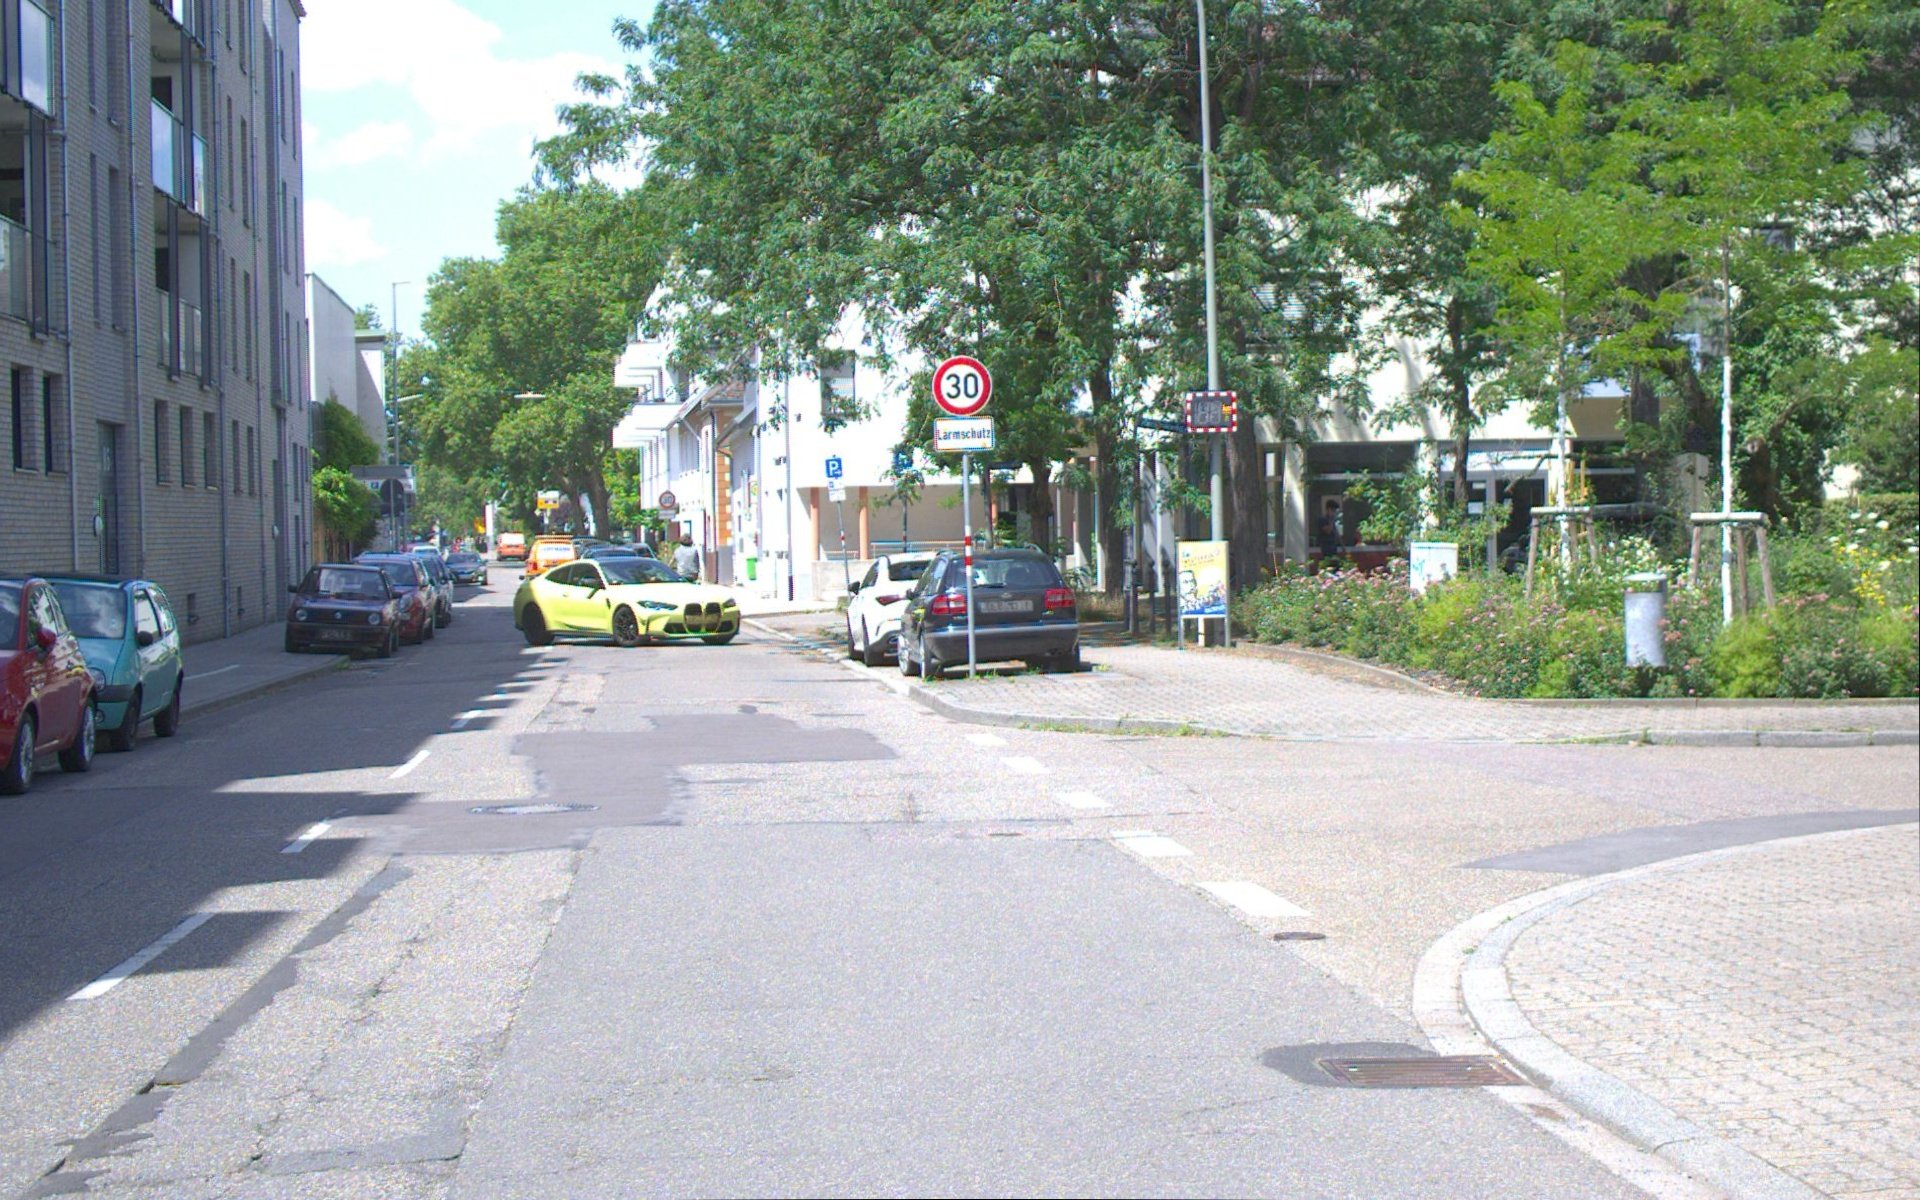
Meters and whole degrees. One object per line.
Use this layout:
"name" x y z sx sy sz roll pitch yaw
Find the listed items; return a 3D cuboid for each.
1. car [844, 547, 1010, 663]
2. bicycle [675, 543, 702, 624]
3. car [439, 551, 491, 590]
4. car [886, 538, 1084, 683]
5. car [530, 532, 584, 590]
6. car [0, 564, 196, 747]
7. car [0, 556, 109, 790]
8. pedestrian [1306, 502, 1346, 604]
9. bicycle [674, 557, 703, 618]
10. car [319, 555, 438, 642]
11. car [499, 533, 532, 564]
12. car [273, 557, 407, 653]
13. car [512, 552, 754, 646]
"car" -0.478 0.032 44.776 1.778 1.415 4.001 -1 1 -6
"bicycle" -5.069 -0.310 64.190 0.477 1.485 0.576 -1 1 -6
"car" -20.216 -1.205 140.441 1.993 1.514 4.001 -1 1 -7
"car" 0.223 0.086 37.969 1.692 1.415 4.001 -4 1 -6
"car" -14.515 -1.430 123.966 1.838 2.007 4.001 -1 1 -6
"car" -7.660 0.435 29.708 1.590 1.451 3.704 1 1 -5
"car" -7.179 0.471 24.591 1.590 1.548 3.571 0 1 -5
"pedestrian" 6.712 -0.859 63.091 0.595 1.853 0.603 -1 1 17
"bicycle" -5.067 -0.235 64.175 0.483 1.111 1.196 -1 1 -6
"car" -10.077 -0.057 59.789 1.732 1.437 4.001 -1 1 -5
"car" -30.252 -3.515 233.831 2.156 2.007 4.001 -1 1 -8
"car" -9.830 0.057 54.700 1.732 1.437 4.001 -1 1 -5
"car" -5.285 -0.036 55.042 1.994 1.376 4.392 0 1 -34
